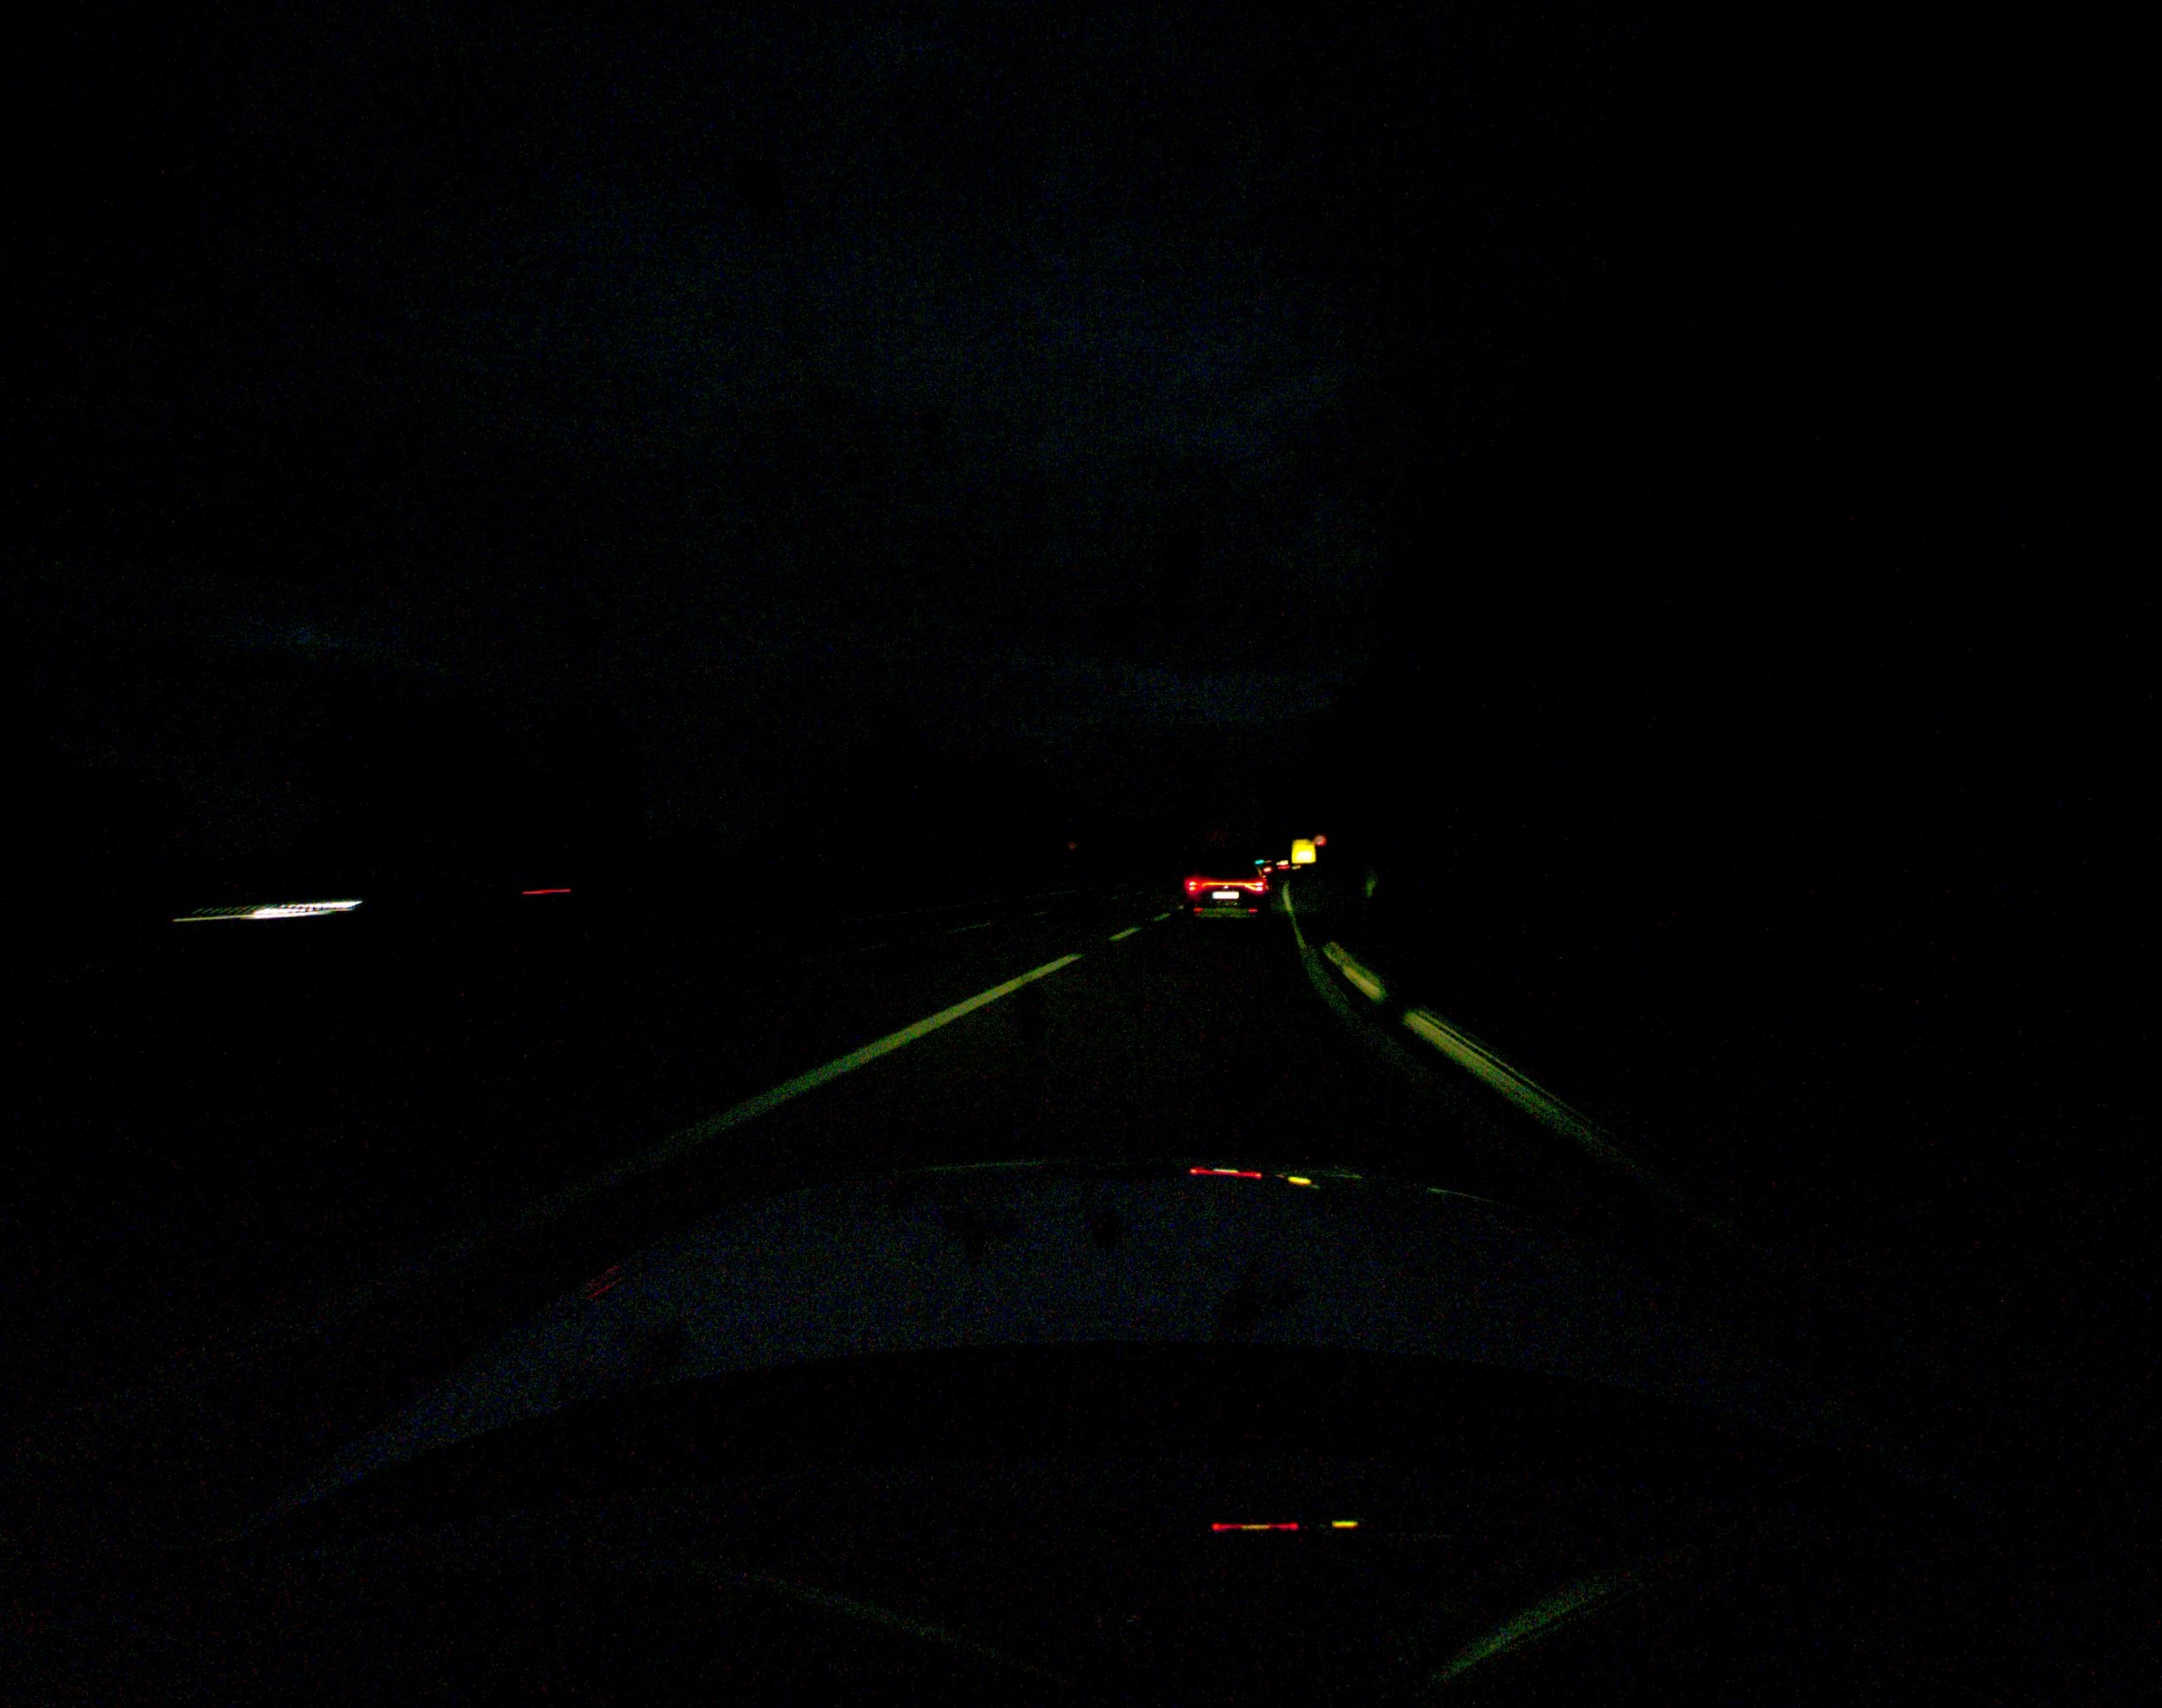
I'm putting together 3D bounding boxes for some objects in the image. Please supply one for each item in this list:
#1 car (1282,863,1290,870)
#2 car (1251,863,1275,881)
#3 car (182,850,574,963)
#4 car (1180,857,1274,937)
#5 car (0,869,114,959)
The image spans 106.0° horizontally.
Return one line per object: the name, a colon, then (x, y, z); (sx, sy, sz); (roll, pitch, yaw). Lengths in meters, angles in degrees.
car: (60.730, 3.710, 241.543); (1.978, 1.750, 4.016); (-5, -3, 16)
car: (15.186, 1.481, 67.930); (1.740, 1.453, 4.450); (-1, -1, 15)
car: (-11.599, 0.787, 14.032); (1.979, 1.570, 4.840); (-2, -1, 13)
car: (3.479, 0.895, 19.062); (1.888, 1.620, 4.571); (1, 0, 12)
car: (-18.880, 1.007, 12.527); (1.980, 1.453, 4.750); (-2, -1, 12)
